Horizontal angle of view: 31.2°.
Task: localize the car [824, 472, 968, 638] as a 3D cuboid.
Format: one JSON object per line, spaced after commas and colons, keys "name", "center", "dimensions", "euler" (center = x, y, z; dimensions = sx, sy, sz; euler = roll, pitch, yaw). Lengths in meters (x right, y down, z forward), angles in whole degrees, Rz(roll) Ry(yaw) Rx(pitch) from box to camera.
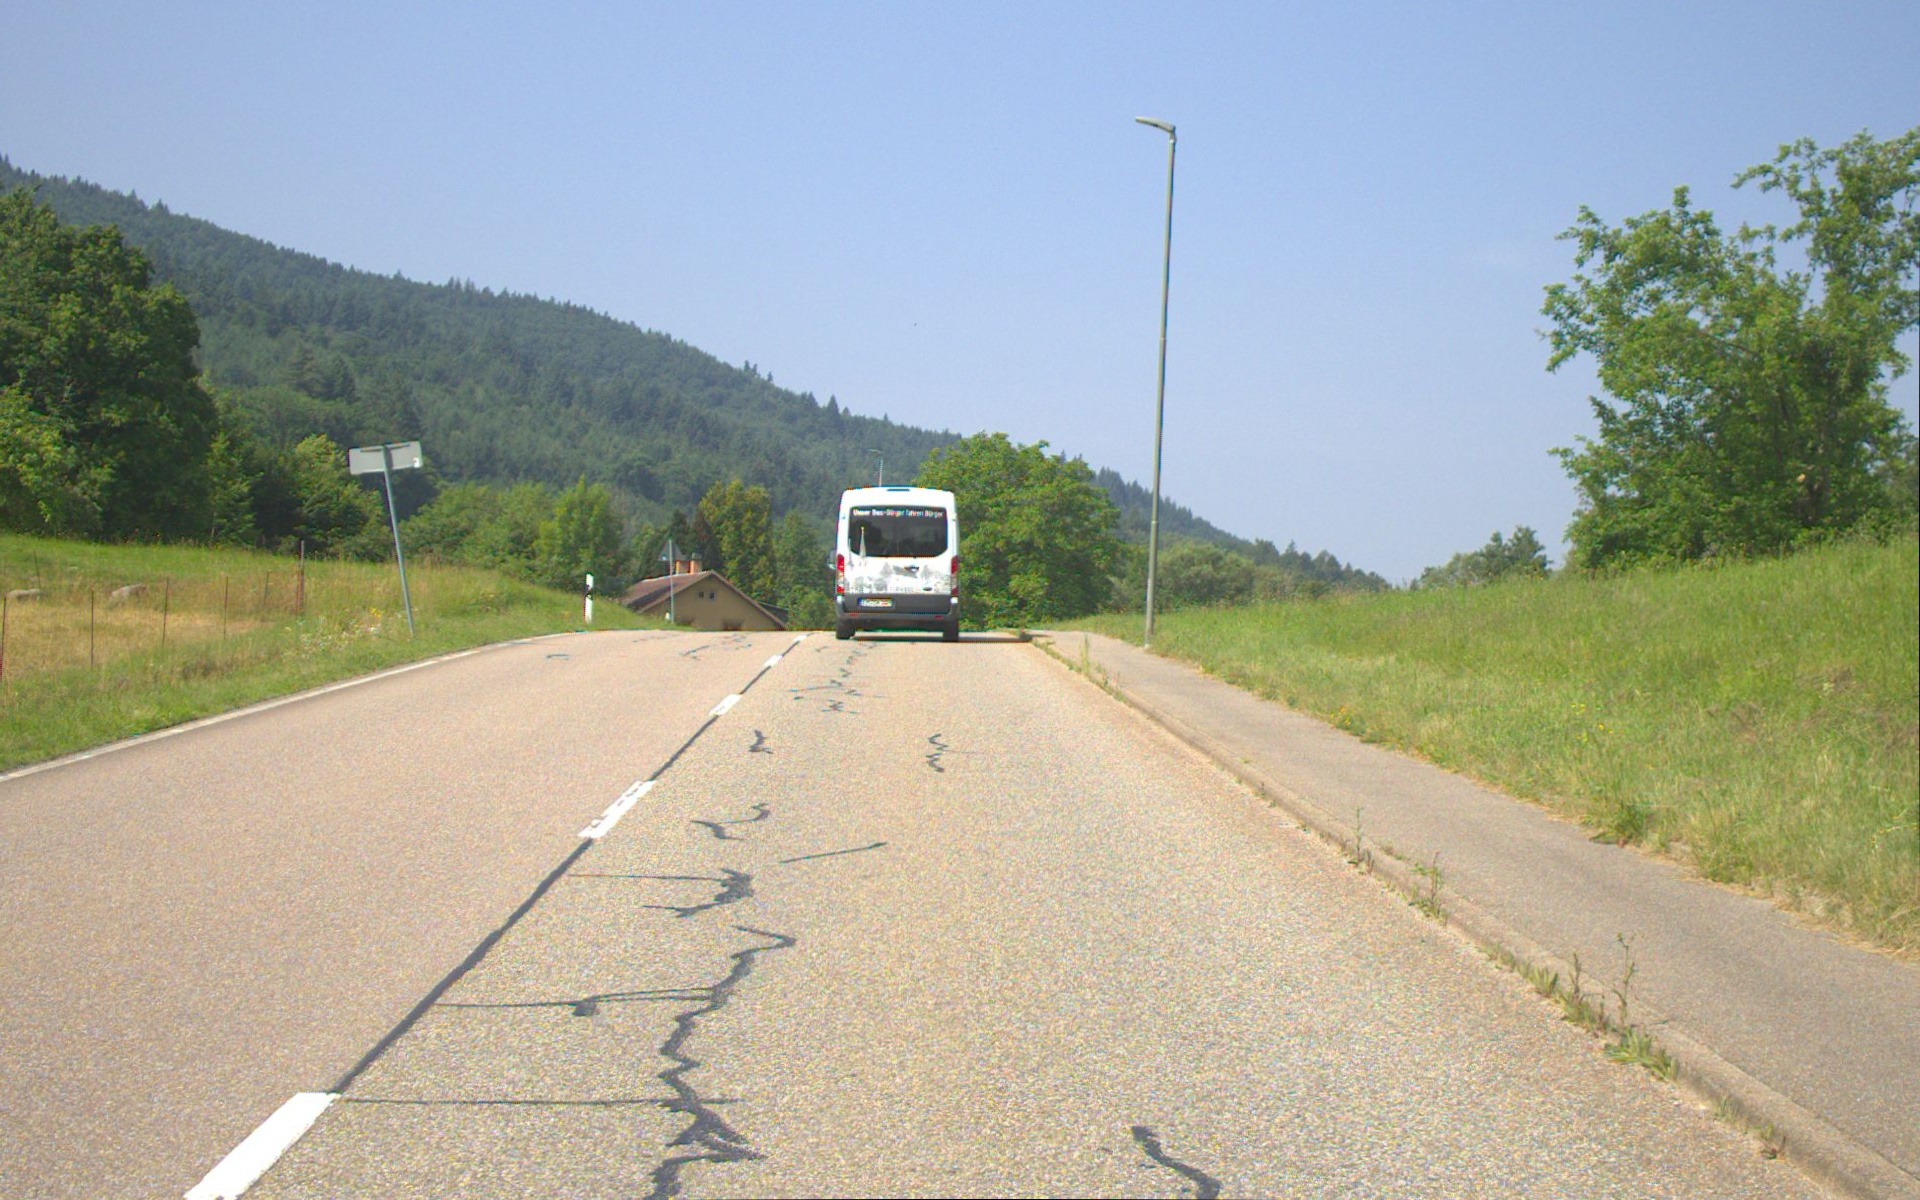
{"name": "car", "center": [-1.054, -0.688, 56.705], "dimensions": [2.222, 2.517, 4.984], "euler": [-1, -1, -1]}
